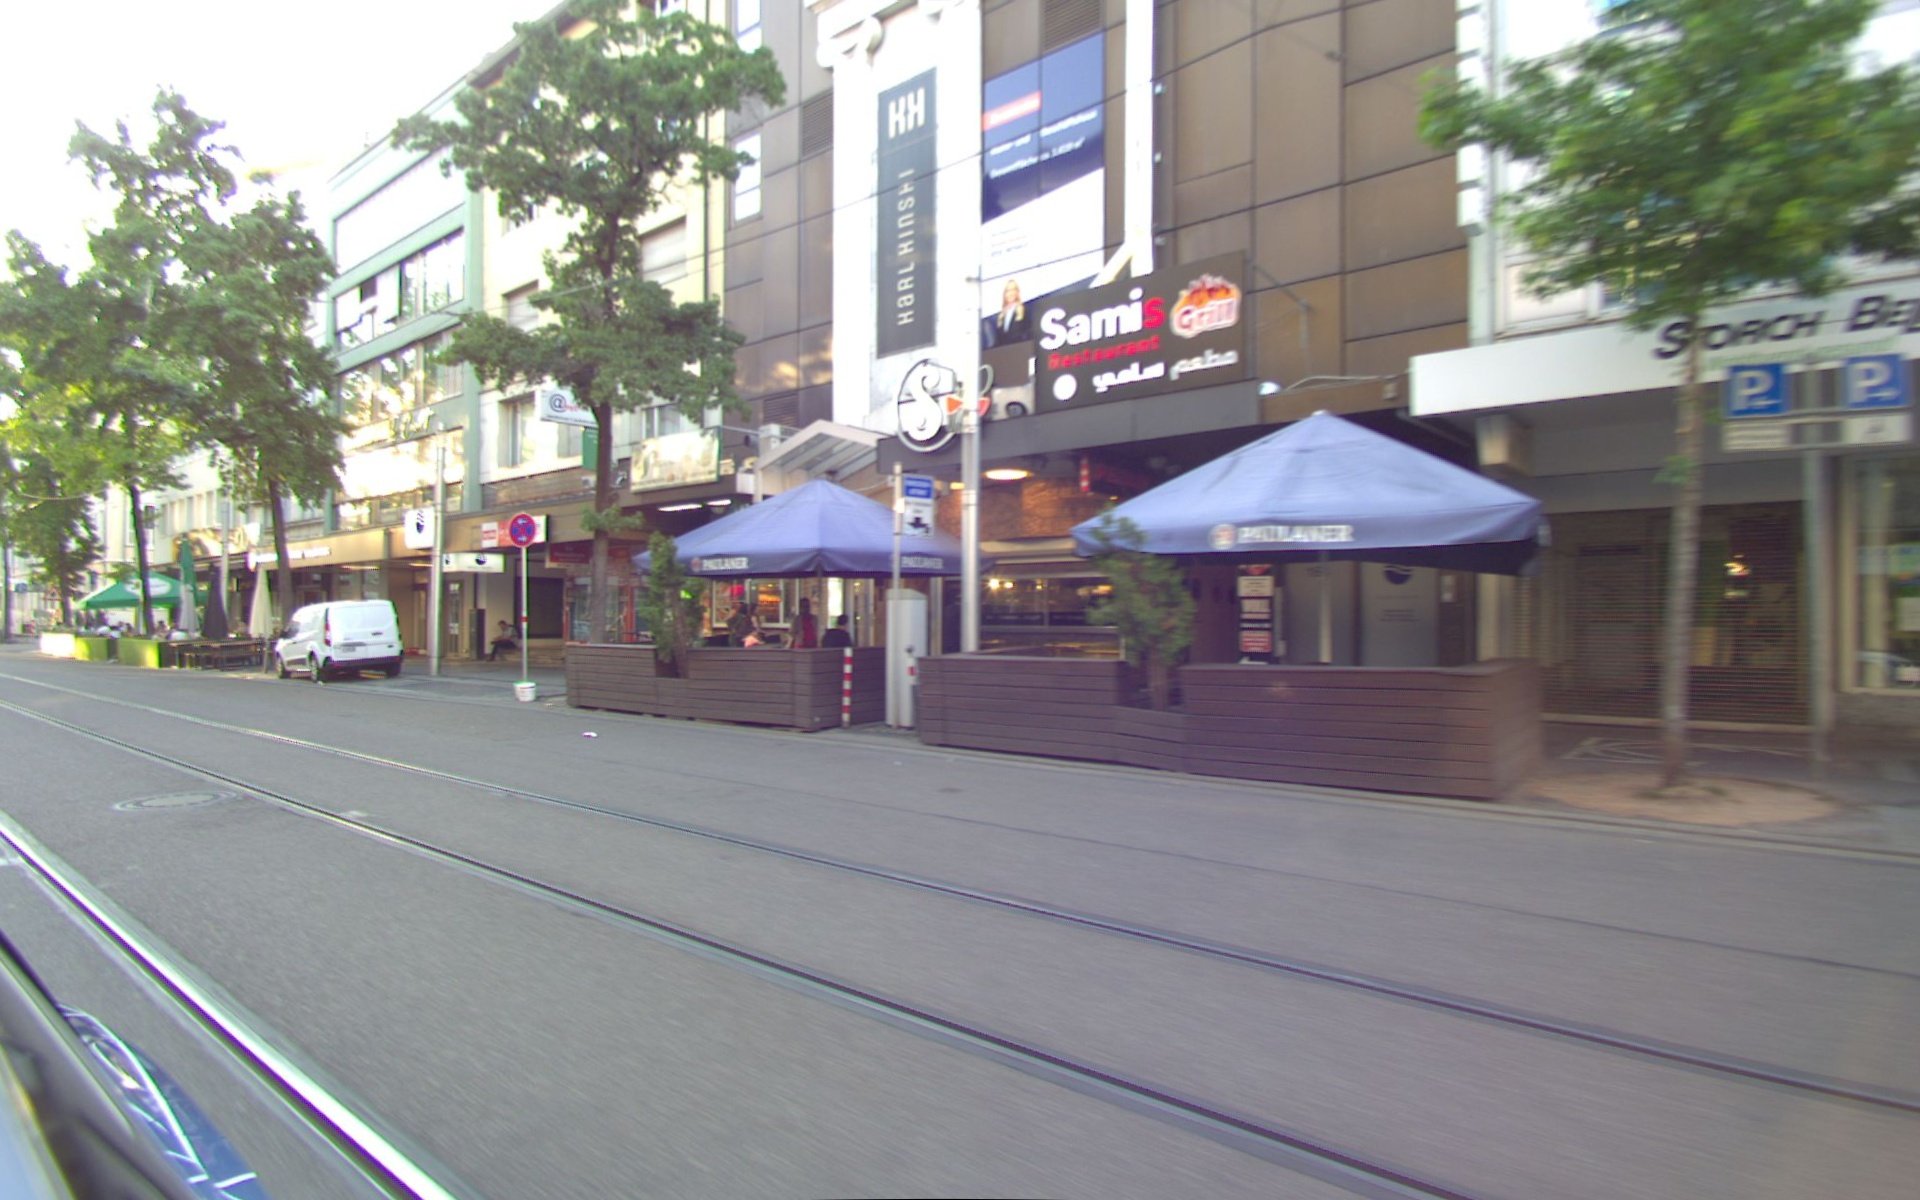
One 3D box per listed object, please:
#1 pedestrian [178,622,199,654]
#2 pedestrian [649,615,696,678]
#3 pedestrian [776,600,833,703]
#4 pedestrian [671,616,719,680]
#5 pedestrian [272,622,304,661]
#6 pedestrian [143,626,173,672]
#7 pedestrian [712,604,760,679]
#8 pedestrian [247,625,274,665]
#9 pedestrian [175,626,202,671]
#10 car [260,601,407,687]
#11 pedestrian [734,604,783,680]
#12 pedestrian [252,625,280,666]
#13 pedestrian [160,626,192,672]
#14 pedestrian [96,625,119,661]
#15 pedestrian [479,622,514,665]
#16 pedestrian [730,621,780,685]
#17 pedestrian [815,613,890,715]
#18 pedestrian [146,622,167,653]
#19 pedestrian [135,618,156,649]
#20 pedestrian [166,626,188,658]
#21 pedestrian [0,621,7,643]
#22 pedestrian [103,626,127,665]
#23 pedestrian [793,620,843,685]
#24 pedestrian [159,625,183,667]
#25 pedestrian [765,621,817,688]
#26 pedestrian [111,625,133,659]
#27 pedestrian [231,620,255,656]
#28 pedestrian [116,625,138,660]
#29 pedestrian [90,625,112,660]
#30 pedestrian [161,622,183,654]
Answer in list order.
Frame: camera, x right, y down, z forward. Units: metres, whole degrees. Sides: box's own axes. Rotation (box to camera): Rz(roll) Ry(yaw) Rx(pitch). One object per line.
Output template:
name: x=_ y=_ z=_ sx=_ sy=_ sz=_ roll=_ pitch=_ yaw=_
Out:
pedestrian: x=-36.473 y=1.786 z=47.861 sx=0.649 sy=1.471 sz=0.642 roll=-1 pitch=-1 yaw=38
pedestrian: x=-6.076 y=0.970 z=21.415 sx=0.665 sy=1.237 sz=0.635 roll=0 pitch=4 yaw=38
pedestrian: x=-2.466 y=0.793 z=16.070 sx=0.564 sy=1.564 sz=0.650 roll=0 pitch=2 yaw=38
pedestrian: x=-5.441 y=0.965 z=20.771 sx=0.665 sy=1.237 sz=0.635 roll=0 pitch=4 yaw=38
pedestrian: x=-23.643 y=1.450 z=35.618 sx=0.785 sy=1.326 sz=0.693 roll=-1 pitch=-1 yaw=36
pedestrian: x=-26.240 y=1.591 z=33.100 sx=0.650 sy=1.471 sz=0.641 roll=-1 pitch=-2 yaw=41
pedestrian: x=-4.595 y=0.835 z=20.774 sx=0.642 sy=1.444 sz=0.654 roll=0 pitch=4 yaw=40
pedestrian: x=-26.238 y=1.673 z=37.957 sx=0.649 sy=1.471 sz=0.642 roll=-1 pitch=-1 yaw=38
pedestrian: x=-25.620 y=1.587 z=33.604 sx=0.639 sy=1.471 sz=0.652 roll=0 pitch=-1 yaw=-33
car: x=-15.200 y=1.013 z=24.476 sx=4.328 sy=1.835 sz=1.807 roll=-1 pitch=1 yaw=42
pedestrian: x=-4.040 y=0.830 z=20.318 sx=0.642 sy=1.444 sz=0.654 roll=0 pitch=4 yaw=40
pedestrian: x=-25.567 y=1.666 z=37.269 sx=0.648 sy=1.471 sz=0.643 roll=-1 pitch=-1 yaw=32
pedestrian: x=-25.342 y=1.583 z=32.710 sx=0.639 sy=1.471 sz=0.652 roll=0 pitch=-1 yaw=-20
pedestrian: x=-33.714 y=1.697 z=40.031 sx=0.640 sy=1.396 sz=0.651 roll=1 pitch=-2 yaw=-43
pedestrian: x=-12.948 y=1.205 z=28.281 sx=0.648 sy=1.184 sz=0.642 roll=-1 pitch=0 yaw=35
pedestrian: x=-3.915 y=0.995 z=19.359 sx=0.665 sy=1.165 sz=0.635 roll=0 pitch=2 yaw=38
pedestrian: x=-1.580 y=0.921 z=14.893 sx=0.746 sy=1.411 sz=0.756 roll=0 pitch=2 yaw=39
pedestrian: x=-38.541 y=1.803 z=48.548 sx=0.649 sy=1.471 sz=0.642 roll=-1 pitch=-1 yaw=38
pedestrian: x=-39.807 y=1.626 z=49.464 sx=0.649 sy=1.471 sz=0.642 roll=-1 pitch=-1 yaw=38
pedestrian: x=-36.093 y=1.924 z=46.635 sx=0.649 sy=1.471 sz=0.642 roll=-1 pitch=-1 yaw=37
pedestrian: x=-63.474 y=2.112 z=67.024 sx=0.543 sy=1.471 sz=0.484 roll=-1 pitch=-1 yaw=38
pedestrian: x=-31.038 y=1.672 z=37.165 sx=0.640 sy=1.396 sz=0.651 roll=1 pitch=-2 yaw=-43
pedestrian: x=-2.715 y=0.986 z=19.350 sx=0.665 sy=1.165 sz=0.635 roll=0 pitch=2 yaw=38
pedestrian: x=-27.886 y=1.608 z=35.755 sx=0.639 sy=1.471 sz=0.651 roll=1 pitch=-1 yaw=-37
pedestrian: x=-3.116 y=0.988 z=18.639 sx=0.665 sy=1.165 sz=0.635 roll=0 pitch=2 yaw=38
pedestrian: x=-34.205 y=1.703 z=41.291 sx=0.640 sy=1.396 sz=0.651 roll=1 pitch=-2 yaw=-43
pedestrian: x=-29.372 y=1.557 z=41.454 sx=0.649 sy=1.471 sz=0.642 roll=-1 pitch=-1 yaw=37
pedestrian: x=-33.318 y=1.695 z=40.464 sx=0.640 sy=1.396 sz=0.651 roll=1 pitch=-2 yaw=-43
pedestrian: x=-34.659 y=1.706 z=40.835 sx=0.640 sy=1.396 sz=0.651 roll=1 pitch=-2 yaw=-43
pedestrian: x=-36.794 y=1.787 z=47.258 sx=0.649 sy=1.471 sz=0.642 roll=-1 pitch=-1 yaw=37
